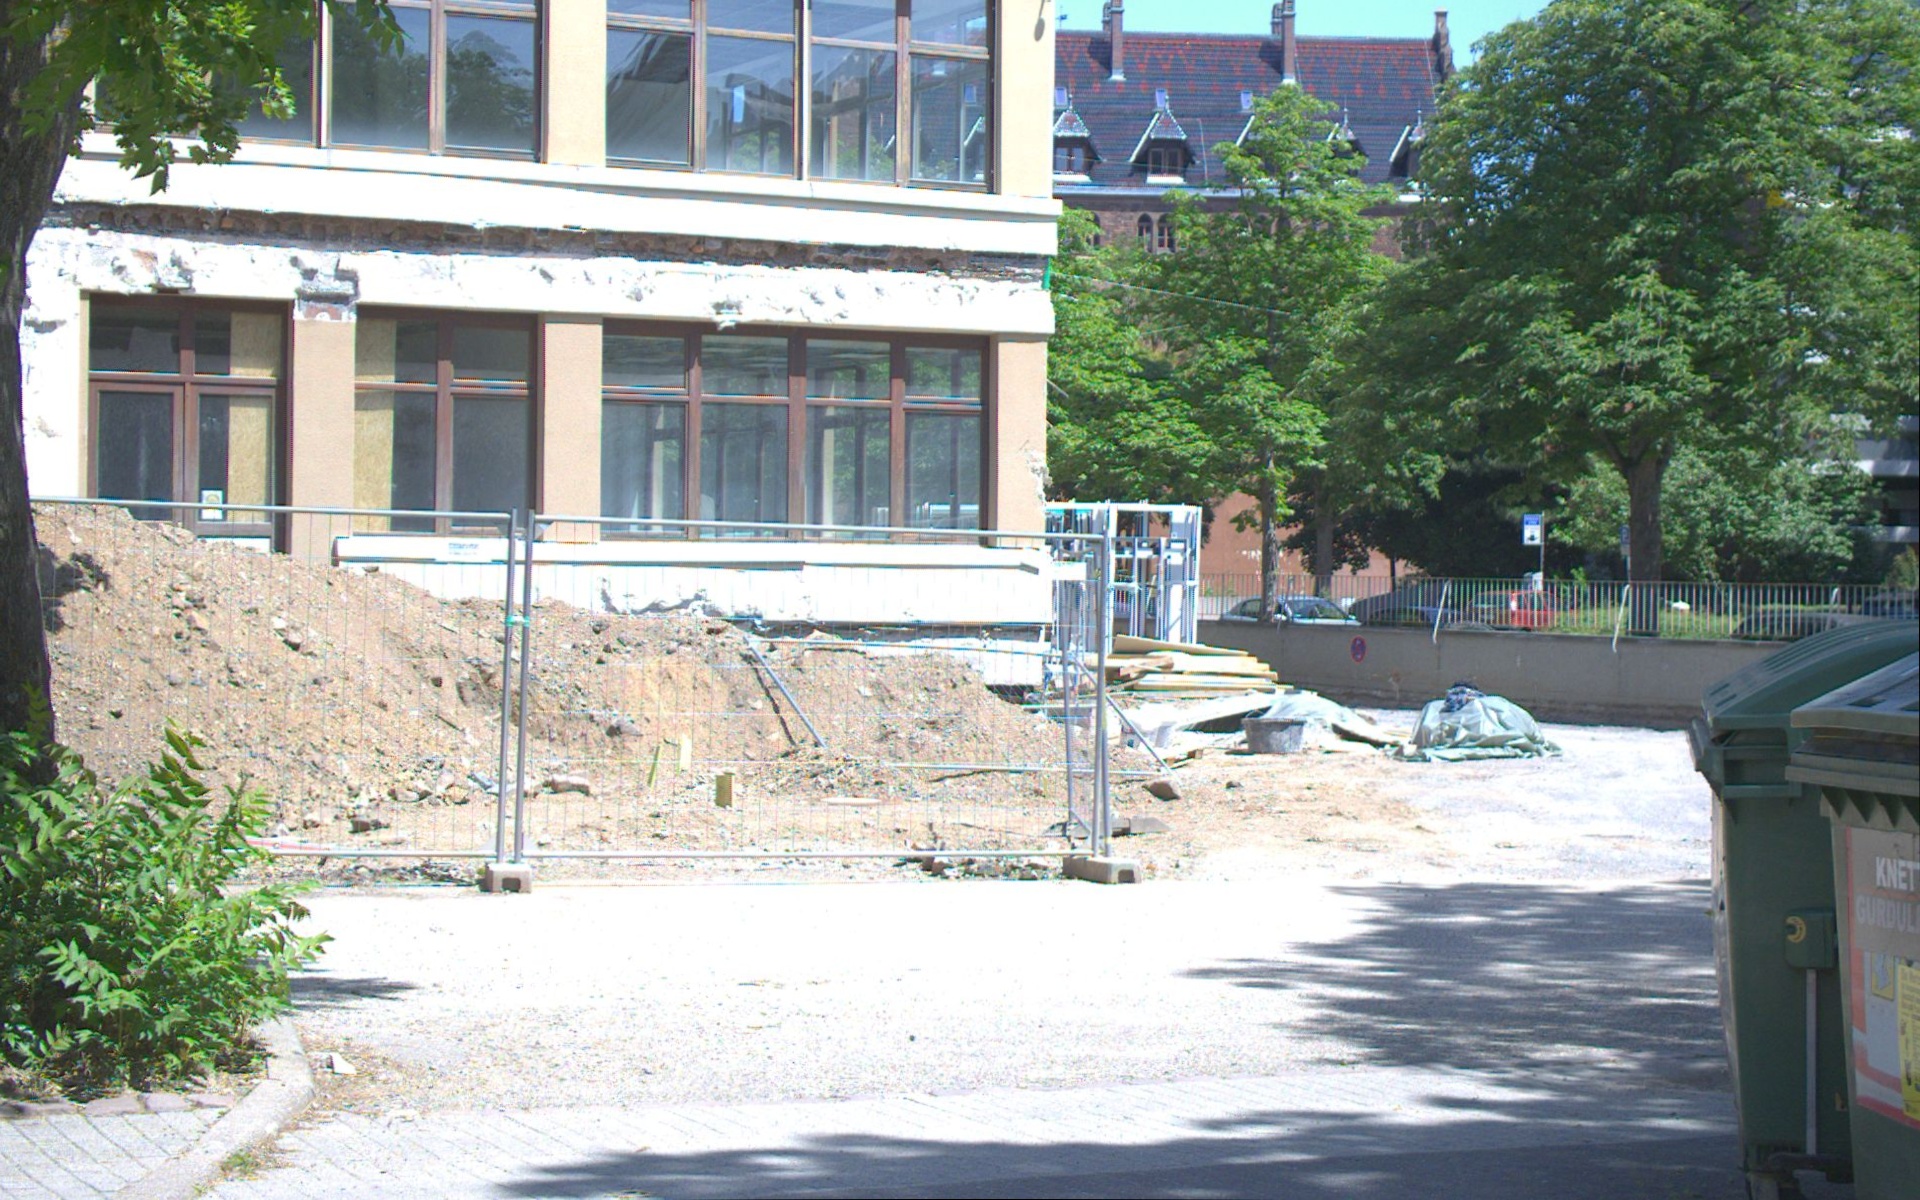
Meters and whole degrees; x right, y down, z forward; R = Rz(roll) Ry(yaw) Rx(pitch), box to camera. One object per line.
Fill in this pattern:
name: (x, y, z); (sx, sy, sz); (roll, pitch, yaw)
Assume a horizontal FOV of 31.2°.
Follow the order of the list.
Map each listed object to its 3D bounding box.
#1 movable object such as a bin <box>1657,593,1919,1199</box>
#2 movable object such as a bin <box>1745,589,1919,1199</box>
movable object such as a bin: (2.289, 0.740, 8.214); (1.179, 1.465, 1.332); (1, -1, 11)
movable object such as a bin: (2.324, 0.728, 6.675); (1.178, 1.465, 1.312); (1, -1, -6)
